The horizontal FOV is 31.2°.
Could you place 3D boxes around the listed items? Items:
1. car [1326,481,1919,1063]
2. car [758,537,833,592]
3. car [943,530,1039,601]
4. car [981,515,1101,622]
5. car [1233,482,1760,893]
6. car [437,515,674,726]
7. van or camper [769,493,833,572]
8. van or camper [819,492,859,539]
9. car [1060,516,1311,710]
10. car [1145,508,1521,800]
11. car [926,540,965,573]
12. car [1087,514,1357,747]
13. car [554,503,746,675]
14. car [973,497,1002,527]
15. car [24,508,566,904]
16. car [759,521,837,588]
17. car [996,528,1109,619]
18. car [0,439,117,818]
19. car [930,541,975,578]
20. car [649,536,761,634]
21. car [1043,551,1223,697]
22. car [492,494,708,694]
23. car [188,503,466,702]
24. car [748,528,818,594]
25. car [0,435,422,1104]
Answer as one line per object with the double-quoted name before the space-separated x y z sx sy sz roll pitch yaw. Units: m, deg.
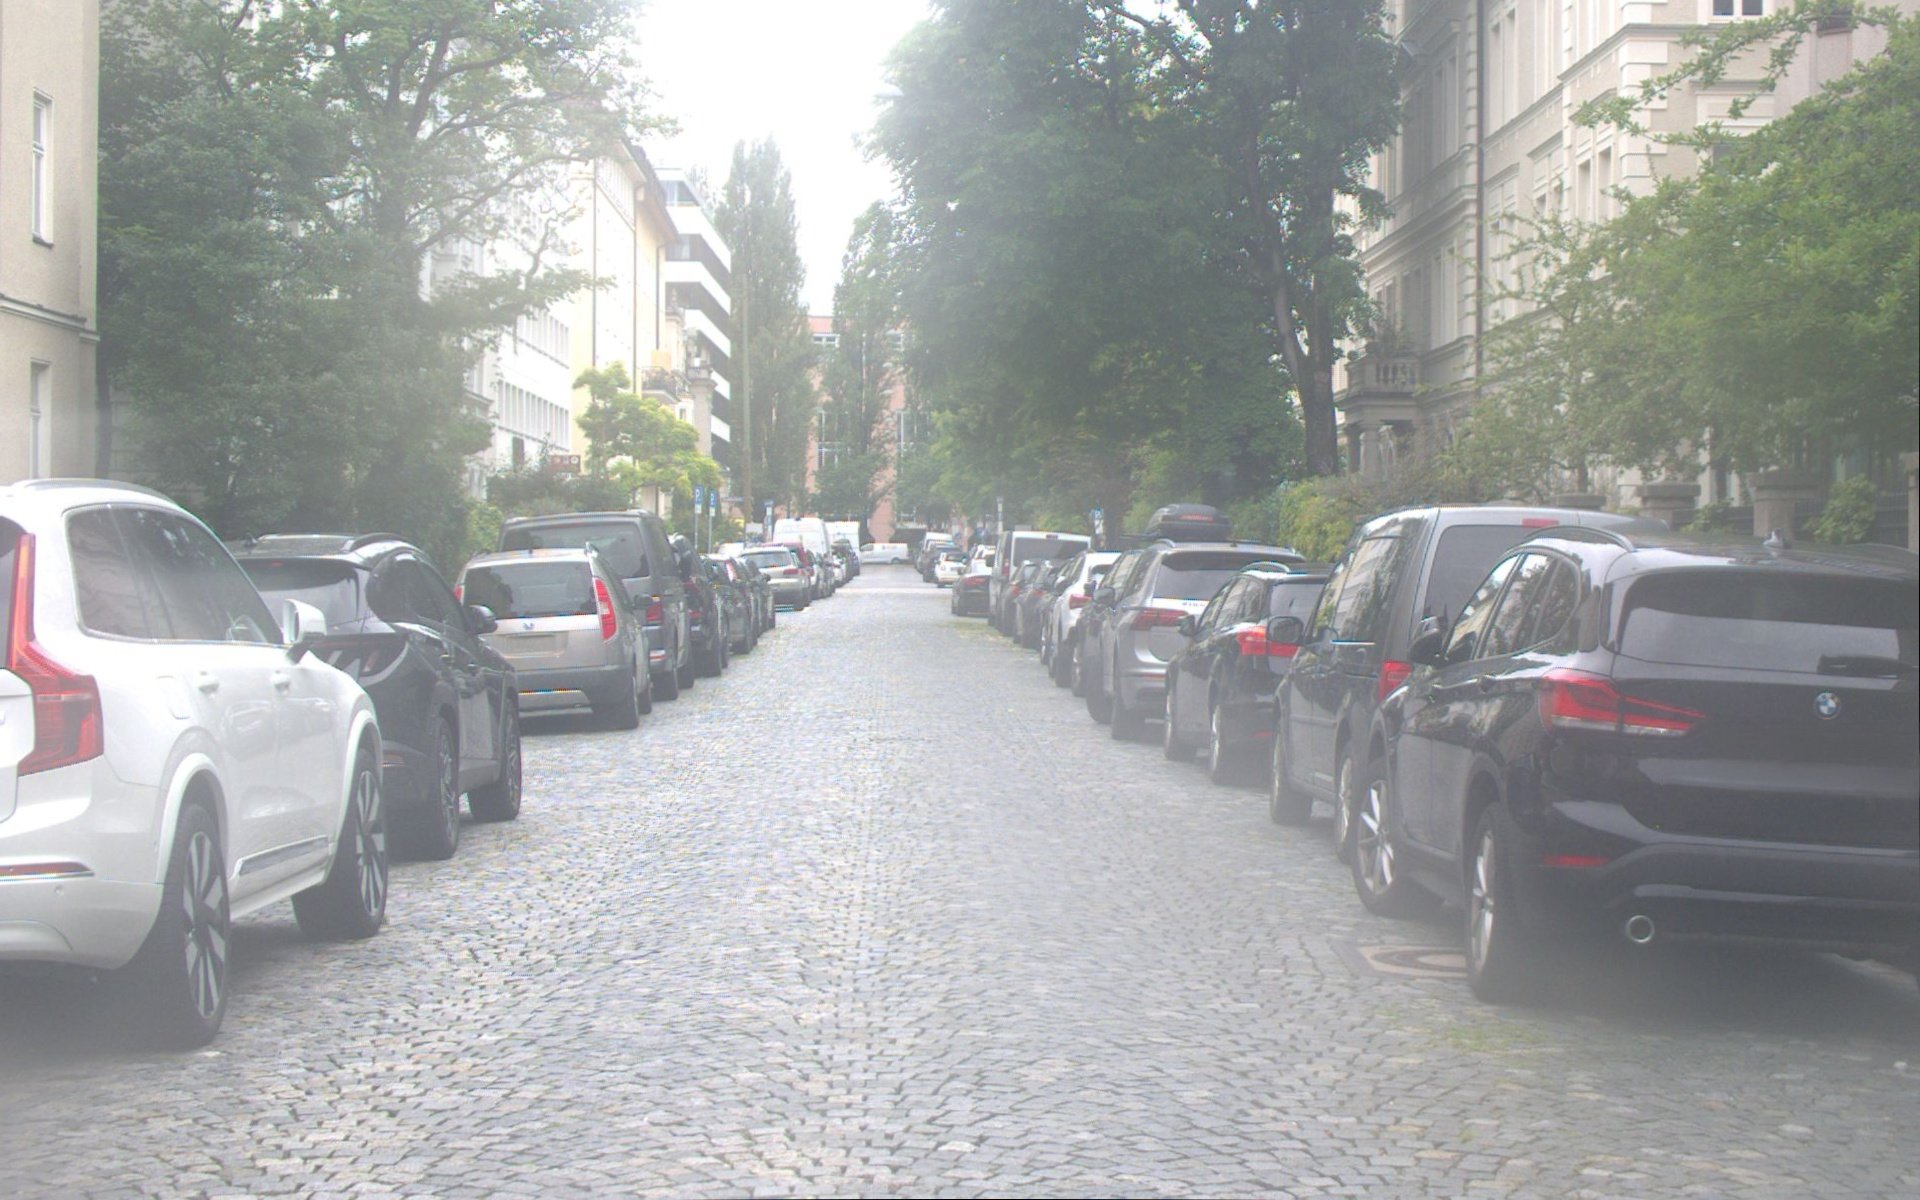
"car" 2.637 0.499 12.792 1.860 1.696 4.813 3 1 -1
"car" -5.024 -1.095 105.478 1.873 1.574 4.208 2 1 2
"car" 0.685 -0.823 79.802 1.873 1.498 4.512 3 1 -3
"car" 1.558 -0.645 67.781 1.873 1.922 5.165 3 1 -3
"car" 2.675 0.369 18.233 1.788 1.790 4.510 4 1 -3
"car" -3.627 0.128 31.499 1.865 1.729 4.404 -2 1 -4
"van or camper" -5.546 -2.361 120.408 1.993 2.643 4.000 -2 1 0
"van or camper" -7.201 -5.034 204.942 2.256 2.733 5.098 1 1 -1
"car" 2.217 0.081 35.074 1.873 1.729 4.748 4 1 -3
"car" 2.494 0.304 24.157 1.873 1.729 4.659 4 1 -2
"car" -0.678 -2.054 162.086 1.790 1.515 4.000 0 1 0
"car" 2.124 0.201 29.121 1.873 1.729 4.892 2 1 0
"car" -3.792 -0.177 42.901 1.993 1.910 5.178 -3 1 -2
"car" 1.971 -6.250 244.517 1.993 2.007 4.000 1 1 0
"car" -3.381 0.458 18.452 1.917 1.729 4.756 -4 1 0
"car" -4.134 -1.176 87.426 1.873 1.574 4.256 -2 1 -3
"car" 1.634 -0.499 62.180 1.837 1.485 4.422 3 1 0
"car" -5.855 0.118 17.422 1.994 1.924 5.331 2 1 -2
"car" -0.328 -1.682 141.465 1.790 1.515 4.000 0 1 0
"car" -3.975 -0.260 53.660 1.662 1.439 4.172 -1 1 -4
"car" 1.963 0.231 40.209 1.873 1.485 4.617 3 1 1
"car" -3.725 -0.100 36.348 1.873 1.910 4.828 -2 1 -2
"car" -6.159 -0.016 33.972 1.945 1.729 4.658 3 1 -2
"car" -5.131 -1.145 99.988 1.873 1.770 4.123 -3 1 -2
"car" -3.284 0.440 11.886 2.006 1.802 5.175 -1 1 0
